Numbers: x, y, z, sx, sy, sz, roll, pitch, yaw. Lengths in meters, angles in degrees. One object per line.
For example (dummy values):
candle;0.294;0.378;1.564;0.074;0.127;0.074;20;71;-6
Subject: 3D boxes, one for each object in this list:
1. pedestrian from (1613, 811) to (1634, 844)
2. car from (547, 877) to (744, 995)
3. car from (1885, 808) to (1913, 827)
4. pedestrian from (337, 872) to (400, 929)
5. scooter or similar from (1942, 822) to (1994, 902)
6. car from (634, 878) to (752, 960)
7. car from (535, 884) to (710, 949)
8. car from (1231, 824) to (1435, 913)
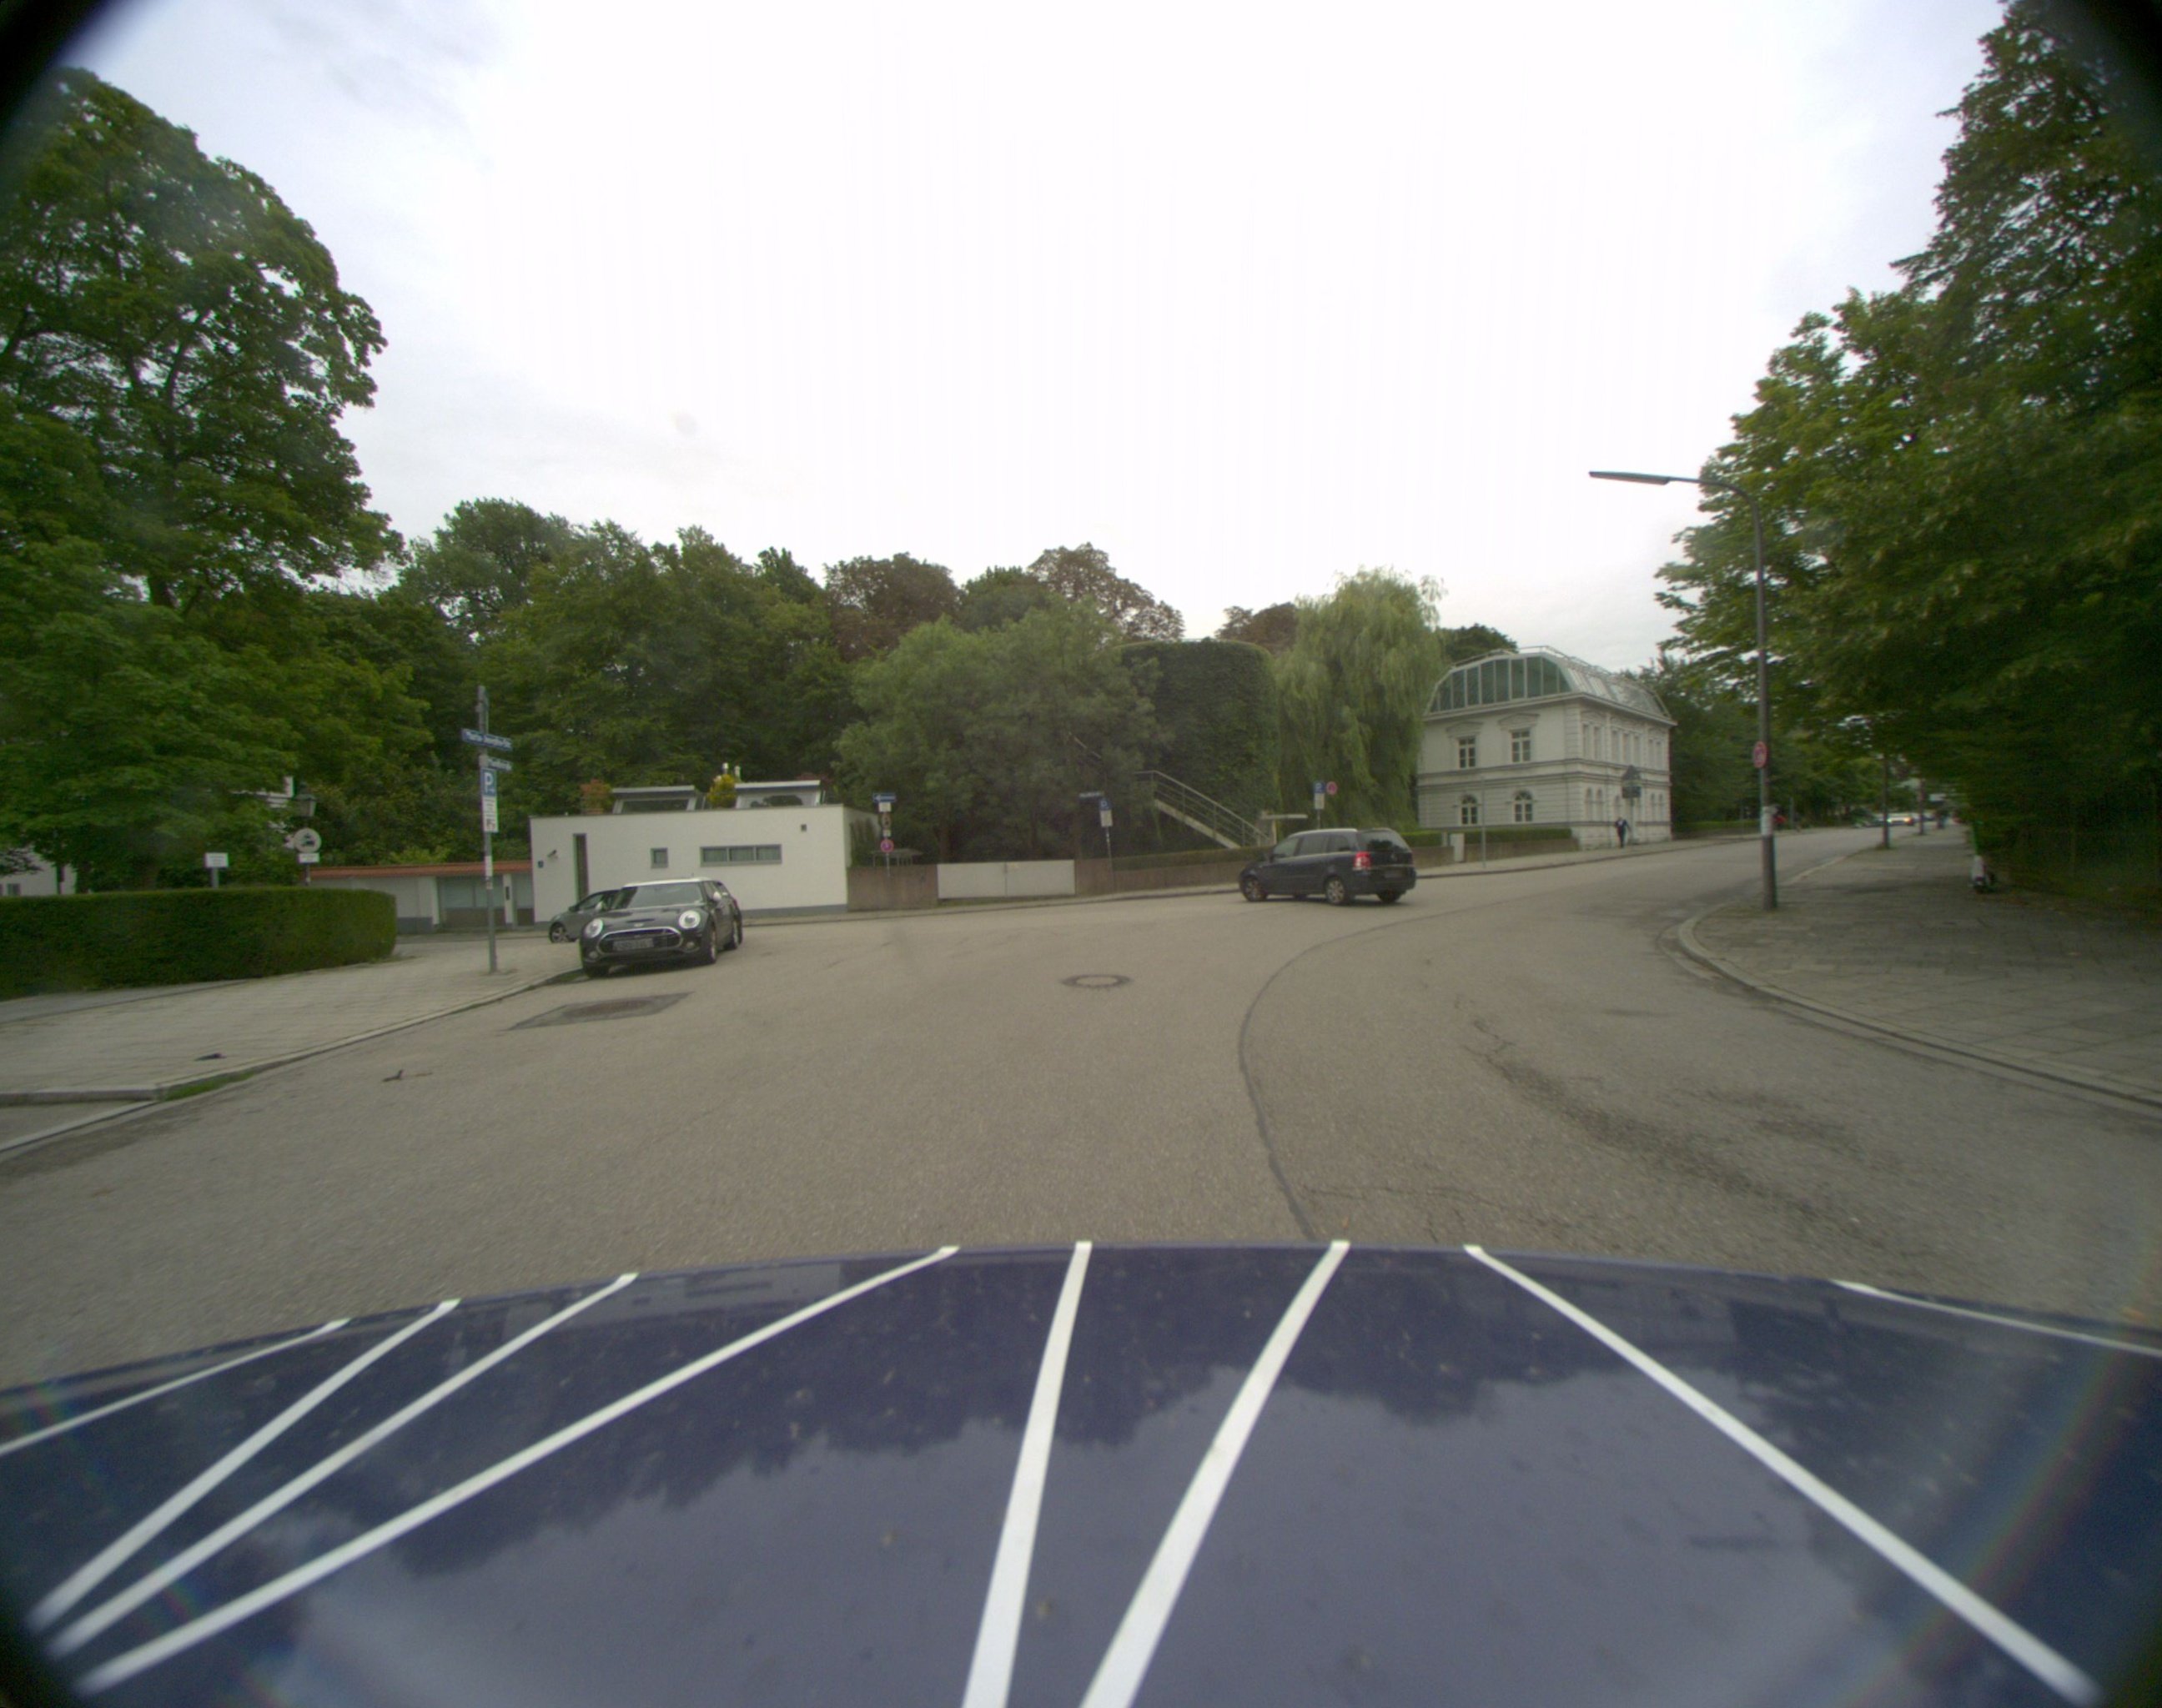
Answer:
pedestrian;28.407;-1.379;39.767;0.769;1.697;0.678;-5;6;-41
car;-6.953;1.193;12.662;1.899;1.438;4.263;-5;0;-18
car;91.905;-4.139;85.371;4.007;2.002;1.994;-4;2;-40
pedestrian;-25.462;1.642;27.161;1.231;1.920;0.952;-3;1;1
scooter or similar;14.418;0.114;12.340;1.422;1.182;0.391;-4;-2;-38
car;-8.722;1.379;16.907;1.900;1.438;4.006;-5;0;-32
car;-12.224;1.661;20.278;4.006;1.437;1.945;-4;-2;22
car;5.515;0.255;17.272;2.002;1.683;4.325;-3;2;-23
